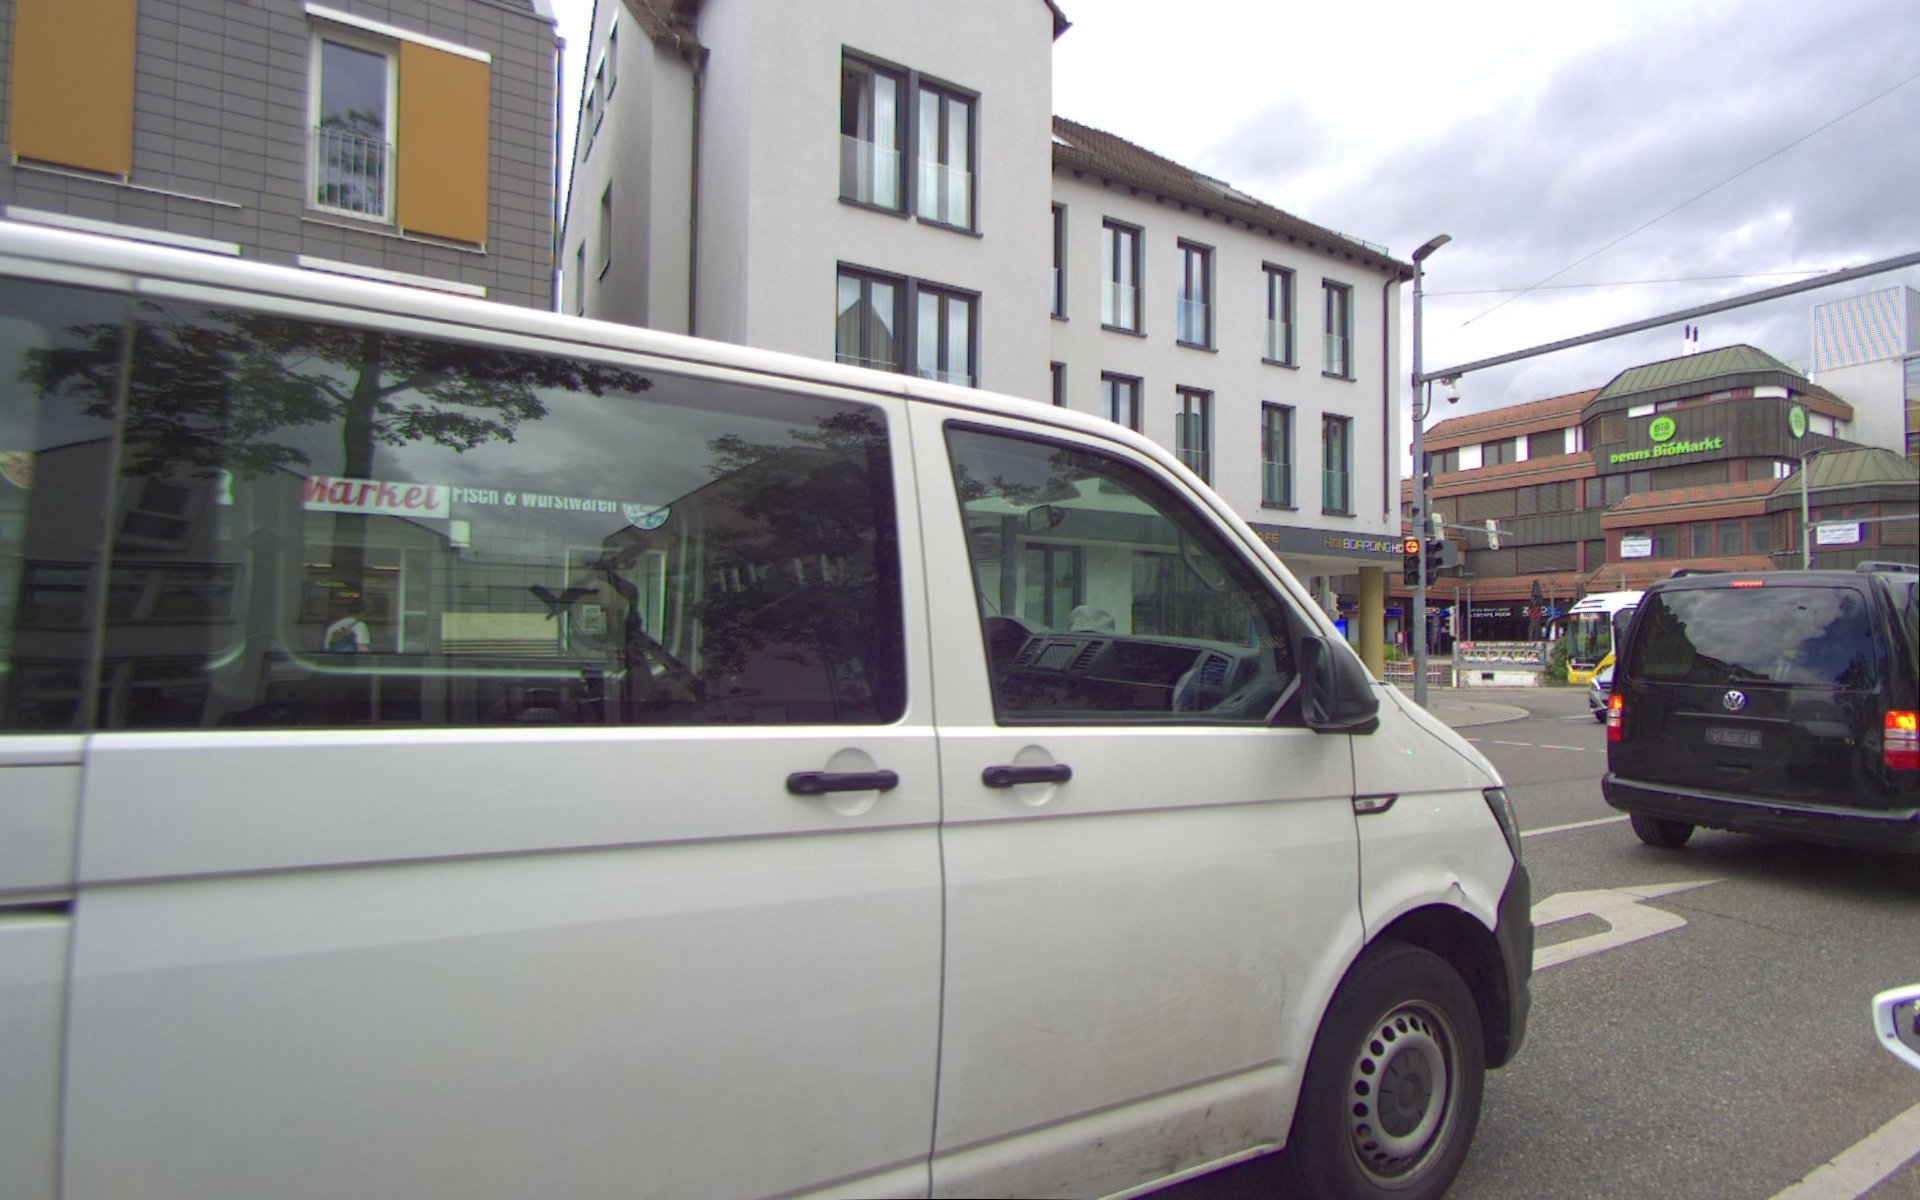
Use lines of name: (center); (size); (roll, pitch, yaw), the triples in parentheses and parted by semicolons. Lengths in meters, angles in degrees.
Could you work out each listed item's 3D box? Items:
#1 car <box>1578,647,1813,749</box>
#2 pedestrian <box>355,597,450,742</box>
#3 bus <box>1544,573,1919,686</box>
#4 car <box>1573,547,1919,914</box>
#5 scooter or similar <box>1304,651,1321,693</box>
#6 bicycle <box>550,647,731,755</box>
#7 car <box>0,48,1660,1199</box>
car: (12.685, 1.599, 17.300); (3.953, 1.505, 1.860); (1, -2, -31)
pedestrian: (-6.771, 0.820, 12.213); (0.960, 1.665, 0.883); (1, -1, -30)
bus: (26.562, 1.024, 33.475); (12.058, 3.370, 3.000); (-1, -4, 4)
car: (6.360, 0.688, 6.941); (4.518, 1.845, 1.699); (1, 0, -31)
scooter or similar: (10.161, 2.078, 28.982); (0.418, 1.173, 1.575); (0, -4, 18)
bicycle: (-4.005, 1.227, 12.667); (2.095, 1.248, 0.579); (1, -1, -32)
car: (-0.602, 0.451, 2.469); (4.783, 2.040, 1.984); (1, 0, -30)
